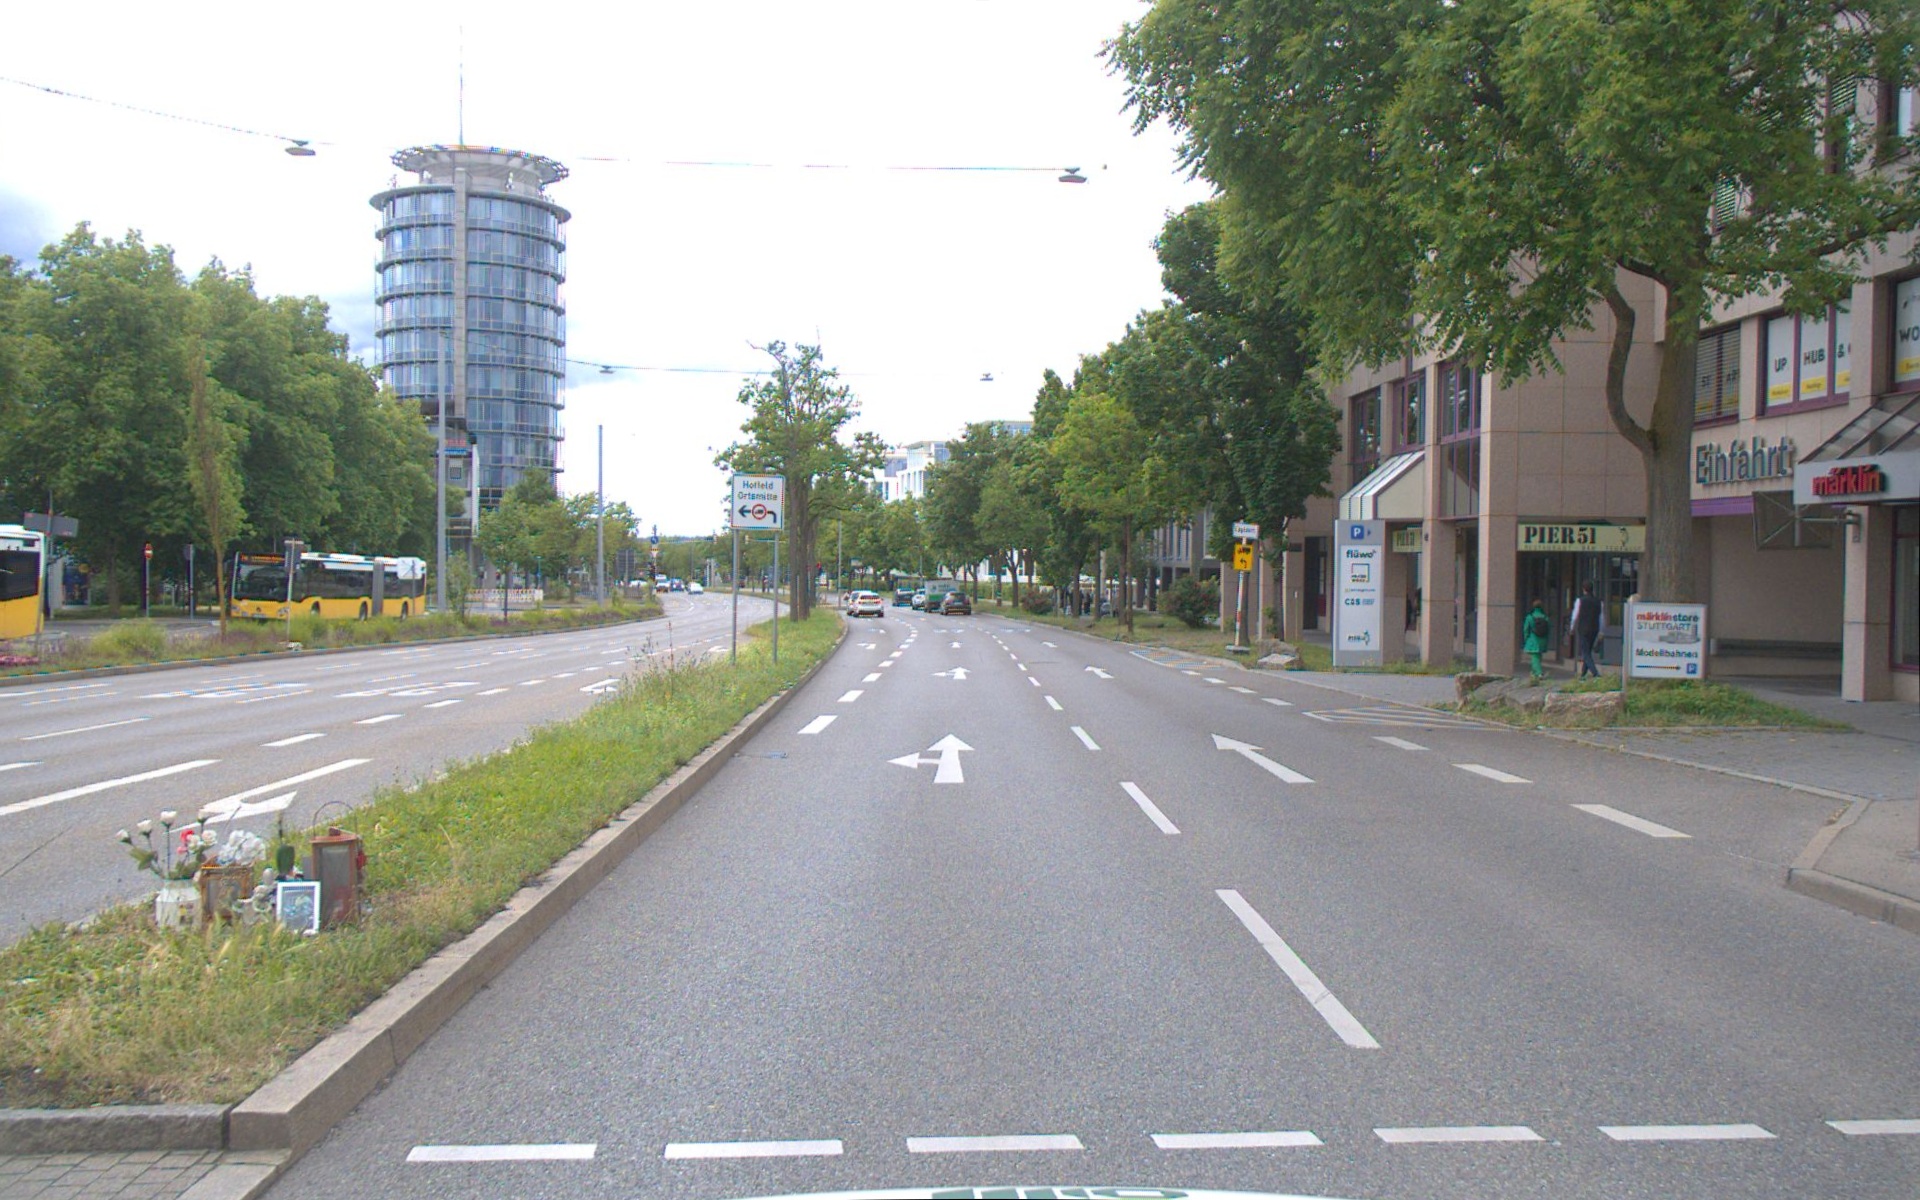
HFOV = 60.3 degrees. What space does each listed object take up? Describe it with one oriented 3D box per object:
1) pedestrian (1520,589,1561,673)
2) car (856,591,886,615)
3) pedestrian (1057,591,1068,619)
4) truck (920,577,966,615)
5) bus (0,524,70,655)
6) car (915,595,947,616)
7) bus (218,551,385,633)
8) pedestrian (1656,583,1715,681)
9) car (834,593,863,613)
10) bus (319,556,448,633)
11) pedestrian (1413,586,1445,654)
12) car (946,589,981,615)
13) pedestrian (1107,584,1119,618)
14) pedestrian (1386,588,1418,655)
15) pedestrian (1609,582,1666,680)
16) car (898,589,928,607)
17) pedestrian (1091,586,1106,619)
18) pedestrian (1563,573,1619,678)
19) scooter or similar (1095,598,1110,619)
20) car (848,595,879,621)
[{"bbox_3d":[10.979,0.583,31.305,0.549,1.577,0.544,-1,0,-1],"label":"pedestrian"},{"bbox_3d":[-5.525,0.195,102.798,1.826,1.474,3.998,0,0,-3],"label":"car"},{"bbox_3d":[6.850,0.351,110.745,0.596,1.806,0.953,0,2,-5],"label":"pedestrian"},{"bbox_3d":[-1.247,-0.232,115.883,2.803,2.563,6.281,0,0,-4],"label":"truck"},{"bbox_3d":[-24.847,-0.299,38.306,2.750,3.186,9.304,2,0,4],"label":"bus"},{"bbox_3d":[-2.200,0.413,122.925,1.956,1.534,3.993,0,0,-8],"label":"car"},{"bbox_3d":[-28.411,-0.344,72.070,3.021,3.218,10.735,2,0,-1],"label":"bus"},{"bbox_3d":[13.028,0.575,29.730,0.644,1.720,0.842,-1,0,0],"label":"pedestrian"},{"bbox_3d":[-8.747,0.193,130.178,1.952,1.534,4.000,0,0,0],"label":"car"},{"bbox_3d":[-28.589,-0.282,82.575,2.969,3.516,9.910,2,0,0],"label":"bus"},{"bbox_3d":[12.188,0.518,43.001,0.582,1.734,0.969,0,0,0],"label":"pedestrian"},{"bbox_3d":[0.195,0.110,105.462,1.954,1.624,3.997,0,0,-4],"label":"car"},{"bbox_3d":[7.875,0.044,85.080,0.555,1.729,0.829,0,-1,0],"label":"pedestrian"},{"bbox_3d":[11.480,0.551,43.007,0.582,1.734,0.969,0,0,0],"label":"pedestrian"},{"bbox_3d":[12.189,0.548,29.773,0.644,1.720,0.842,-1,0,0],"label":"pedestrian"},{"bbox_3d":[-4.043,-0.158,141.770,1.957,1.534,3.991,0,0,-10],"label":"car"},{"bbox_3d":[7.113,0.112,84.888,0.545,1.681,0.960,-1,0,-8],"label":"pedestrian"},{"bbox_3d":[11.384,0.449,29.869,0.644,1.858,0.842,-1,0,0],"label":"pedestrian"},{"bbox_3d":[7.228,0.432,83.988,0.573,1.011,0.845,-1,0,-8],"label":"scooter or similar"},{"bbox_3d":[-6.430,0.520,109.875,1.954,1.701,3.996,0,0,-4],"label":"car"}]
